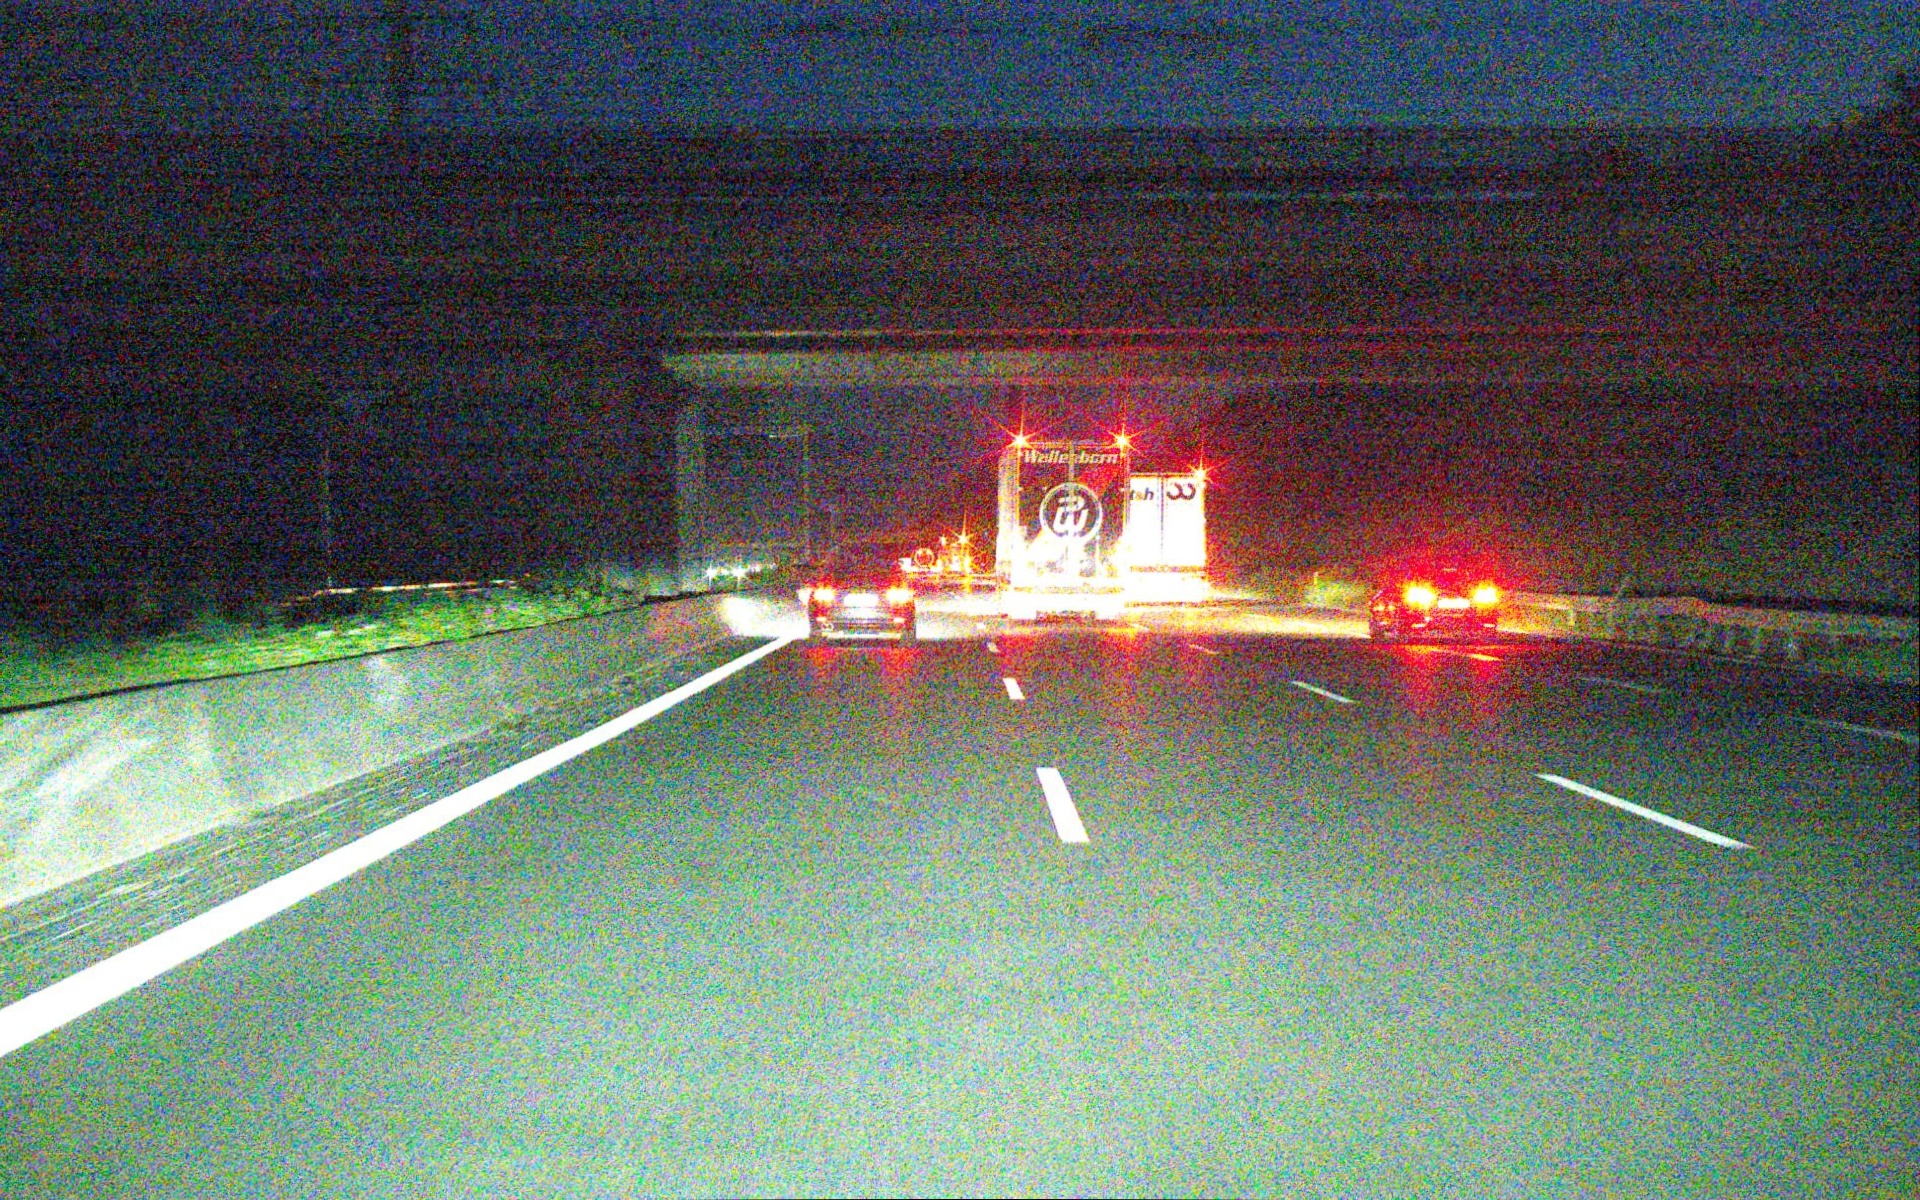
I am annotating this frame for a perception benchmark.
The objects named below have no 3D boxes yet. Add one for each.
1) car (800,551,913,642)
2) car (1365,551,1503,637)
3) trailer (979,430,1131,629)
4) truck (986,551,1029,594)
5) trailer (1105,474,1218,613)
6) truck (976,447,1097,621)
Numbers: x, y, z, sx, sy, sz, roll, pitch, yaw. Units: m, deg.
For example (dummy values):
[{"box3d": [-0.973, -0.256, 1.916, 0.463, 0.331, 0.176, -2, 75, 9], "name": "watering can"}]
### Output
[{"box3d": [-1.770, -0.084, 58.094, 1.821, 1.461, 4.248, 1, 1, -2], "name": "car"}, {"box3d": [8.502, -0.126, 62.008, 1.821, 1.461, 4.248, 1, 1, -1], "name": "car"}, {"box3d": [2.064, -1.573, 80.100, 2.742, 4.192, 13.511, 1, 1, -2], "name": "trailer"}, {"box3d": [3.028, -1.793, 220.880, 2.076, 2.682, 7.309, 1, 0, -4], "name": "truck"}, {"box3d": [6.159, -1.719, 106.308, 2.591, 4.058, 10.009, 1, 1, -2], "name": "trailer"}, {"box3d": [1.870, -1.637, 86.733, 2.661, 4.192, 6.723, 1, 1, -2], "name": "truck"}]
